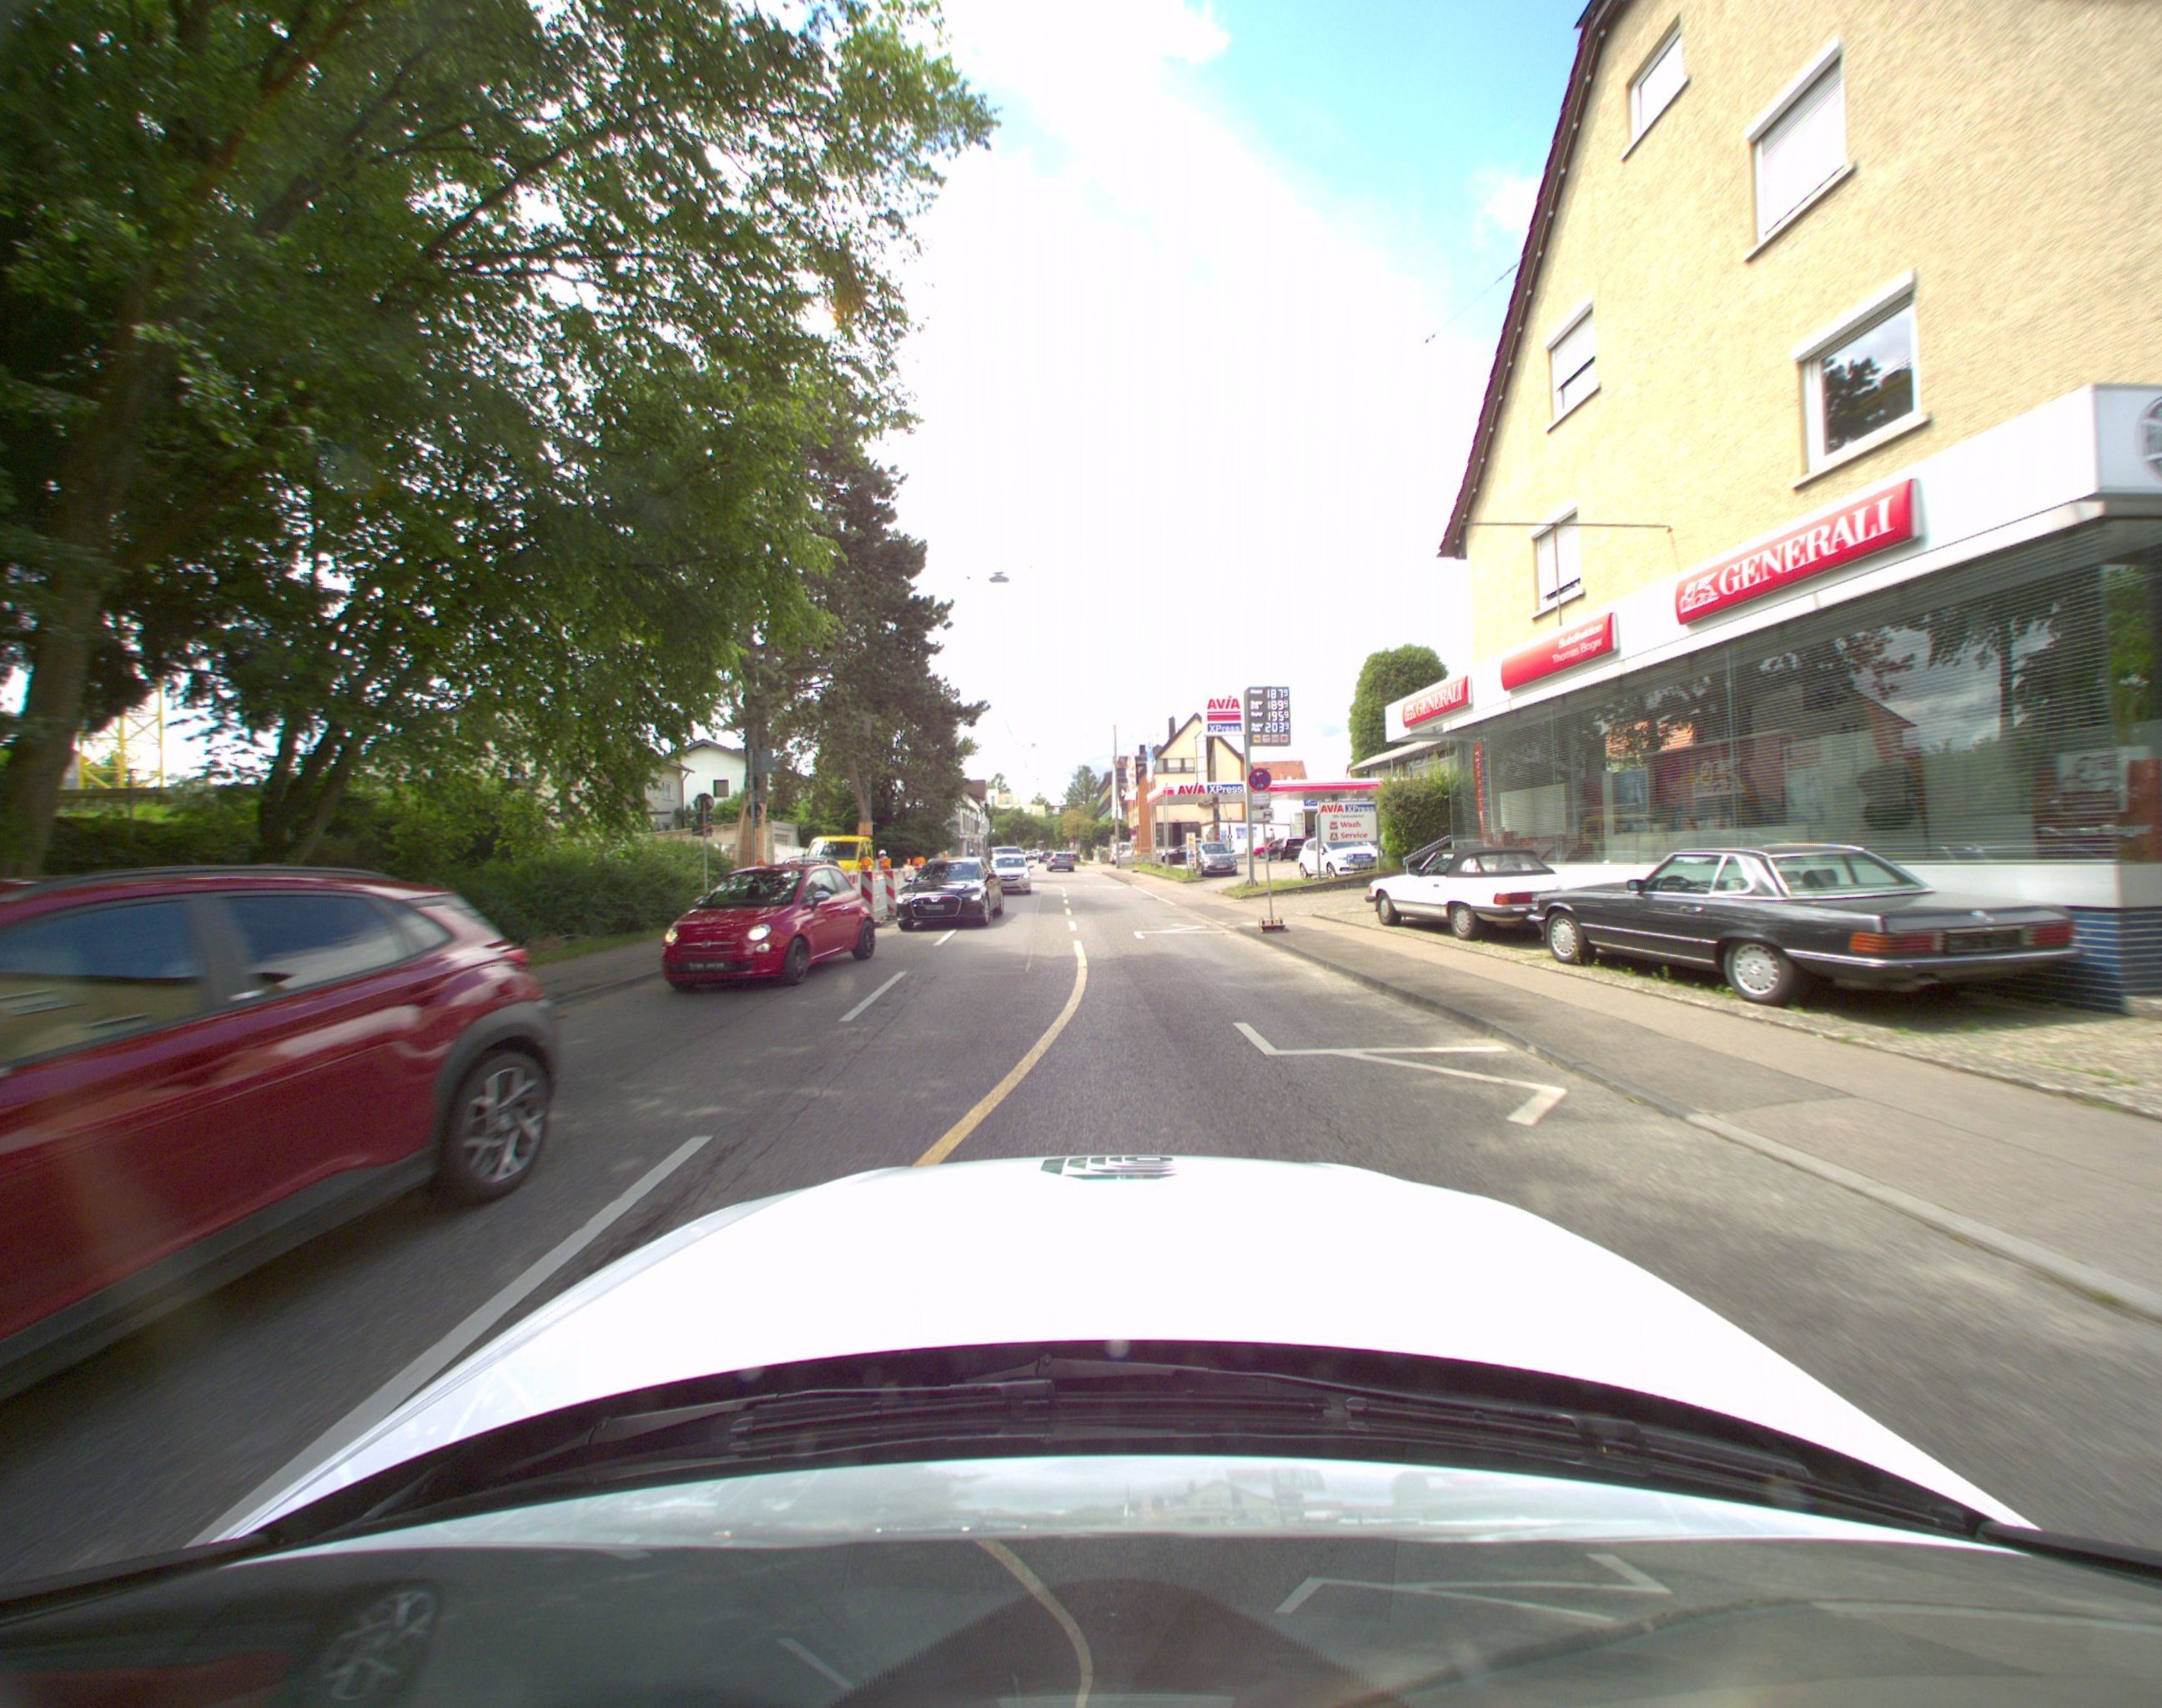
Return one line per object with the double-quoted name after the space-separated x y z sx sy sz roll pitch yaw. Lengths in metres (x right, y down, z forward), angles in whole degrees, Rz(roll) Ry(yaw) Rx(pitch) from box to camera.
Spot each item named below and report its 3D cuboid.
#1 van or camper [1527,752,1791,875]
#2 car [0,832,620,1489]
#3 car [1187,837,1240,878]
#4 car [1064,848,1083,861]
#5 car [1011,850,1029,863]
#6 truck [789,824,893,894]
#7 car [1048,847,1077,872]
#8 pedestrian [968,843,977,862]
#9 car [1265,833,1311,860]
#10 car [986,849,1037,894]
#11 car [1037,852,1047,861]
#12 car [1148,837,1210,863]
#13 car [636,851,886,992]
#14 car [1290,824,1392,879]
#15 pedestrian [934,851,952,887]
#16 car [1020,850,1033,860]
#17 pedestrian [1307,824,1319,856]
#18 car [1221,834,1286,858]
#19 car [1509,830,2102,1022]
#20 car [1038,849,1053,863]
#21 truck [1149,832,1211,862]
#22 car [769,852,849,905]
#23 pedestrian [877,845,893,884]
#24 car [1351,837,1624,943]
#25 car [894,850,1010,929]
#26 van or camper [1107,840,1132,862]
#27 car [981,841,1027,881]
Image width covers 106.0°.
16.670 -1.140 23.696 5.952 2.850 2.526 -6 0 -6 "van or camper"
-3.484 0.773 2.537 1.771 1.556 4.000 -3 0 -1 "car"
6.011 0.140 37.444 1.610 1.595 4.159 -7 0 1 "car"
-0.926 0.044 96.717 1.979 1.448 4.747 -2 0 -3 "car"
-6.918 0.283 92.460 1.736 1.429 4.520 -3 0 -2 "car"
-8.966 0.192 31.079 2.299 2.420 6.090 0 -1 -1 "truck"
-1.437 0.446 61.034 1.953 1.524 4.320 -1 -4 -5 "car"
-9.819 -0.109 73.578 0.681 1.737 0.867 0 -1 -3 "pedestrian"
12.930 -0.436 51.102 1.625 1.608 4.568 -1 -1 -1 "car"
-2.546 0.628 30.568 1.610 1.523 3.568 -2 0 -1 "car"
-6.877 0.489 144.868 1.612 1.523 3.563 -2 0 -5 "car"
7.395 -0.281 61.635 4.263 1.630 1.646 -4 1 33 "car"
-4.107 0.774 11.112 1.606 1.523 3.576 -3 0 7 "car"
8.587 -0.051 27.284 1.632 1.528 4.196 -5 0 -5 "car"
-6.234 0.680 36.734 0.564 1.601 0.540 -1 -1 42 "pedestrian"
-8.487 0.141 126.797 1.828 1.523 4.163 -2 0 -5 "car"
14.264 -0.836 50.036 0.579 1.935 0.544 -1 -1 34 "pedestrian"
12.884 -0.586 60.681 4.557 1.717 1.833 -1 -1 17 "car"
6.334 0.519 7.974 1.781 1.284 4.311 -3 0 -4 "car"
-4.205 0.246 96.915 1.612 1.523 3.563 -2 0 -5 "car"
8.636 -0.624 71.542 5.075 2.457 2.355 -1 1 -3 "truck"
-8.215 0.686 24.872 1.622 1.508 3.574 0 0 -7 "car"
-7.772 0.405 32.292 0.573 1.547 0.653 0 -1 -8 "pedestrian"
6.135 0.487 13.011 1.782 1.316 4.472 -3 0 -6 "car"
-2.777 0.714 18.566 1.812 1.523 4.561 -2 0 1 "car"
3.619 -0.271 76.719 1.863 2.032 4.541 0 -1 -3 "van or camper"
-4.158 0.339 43.372 1.910 1.951 4.895 -2 1 -11 "car"
